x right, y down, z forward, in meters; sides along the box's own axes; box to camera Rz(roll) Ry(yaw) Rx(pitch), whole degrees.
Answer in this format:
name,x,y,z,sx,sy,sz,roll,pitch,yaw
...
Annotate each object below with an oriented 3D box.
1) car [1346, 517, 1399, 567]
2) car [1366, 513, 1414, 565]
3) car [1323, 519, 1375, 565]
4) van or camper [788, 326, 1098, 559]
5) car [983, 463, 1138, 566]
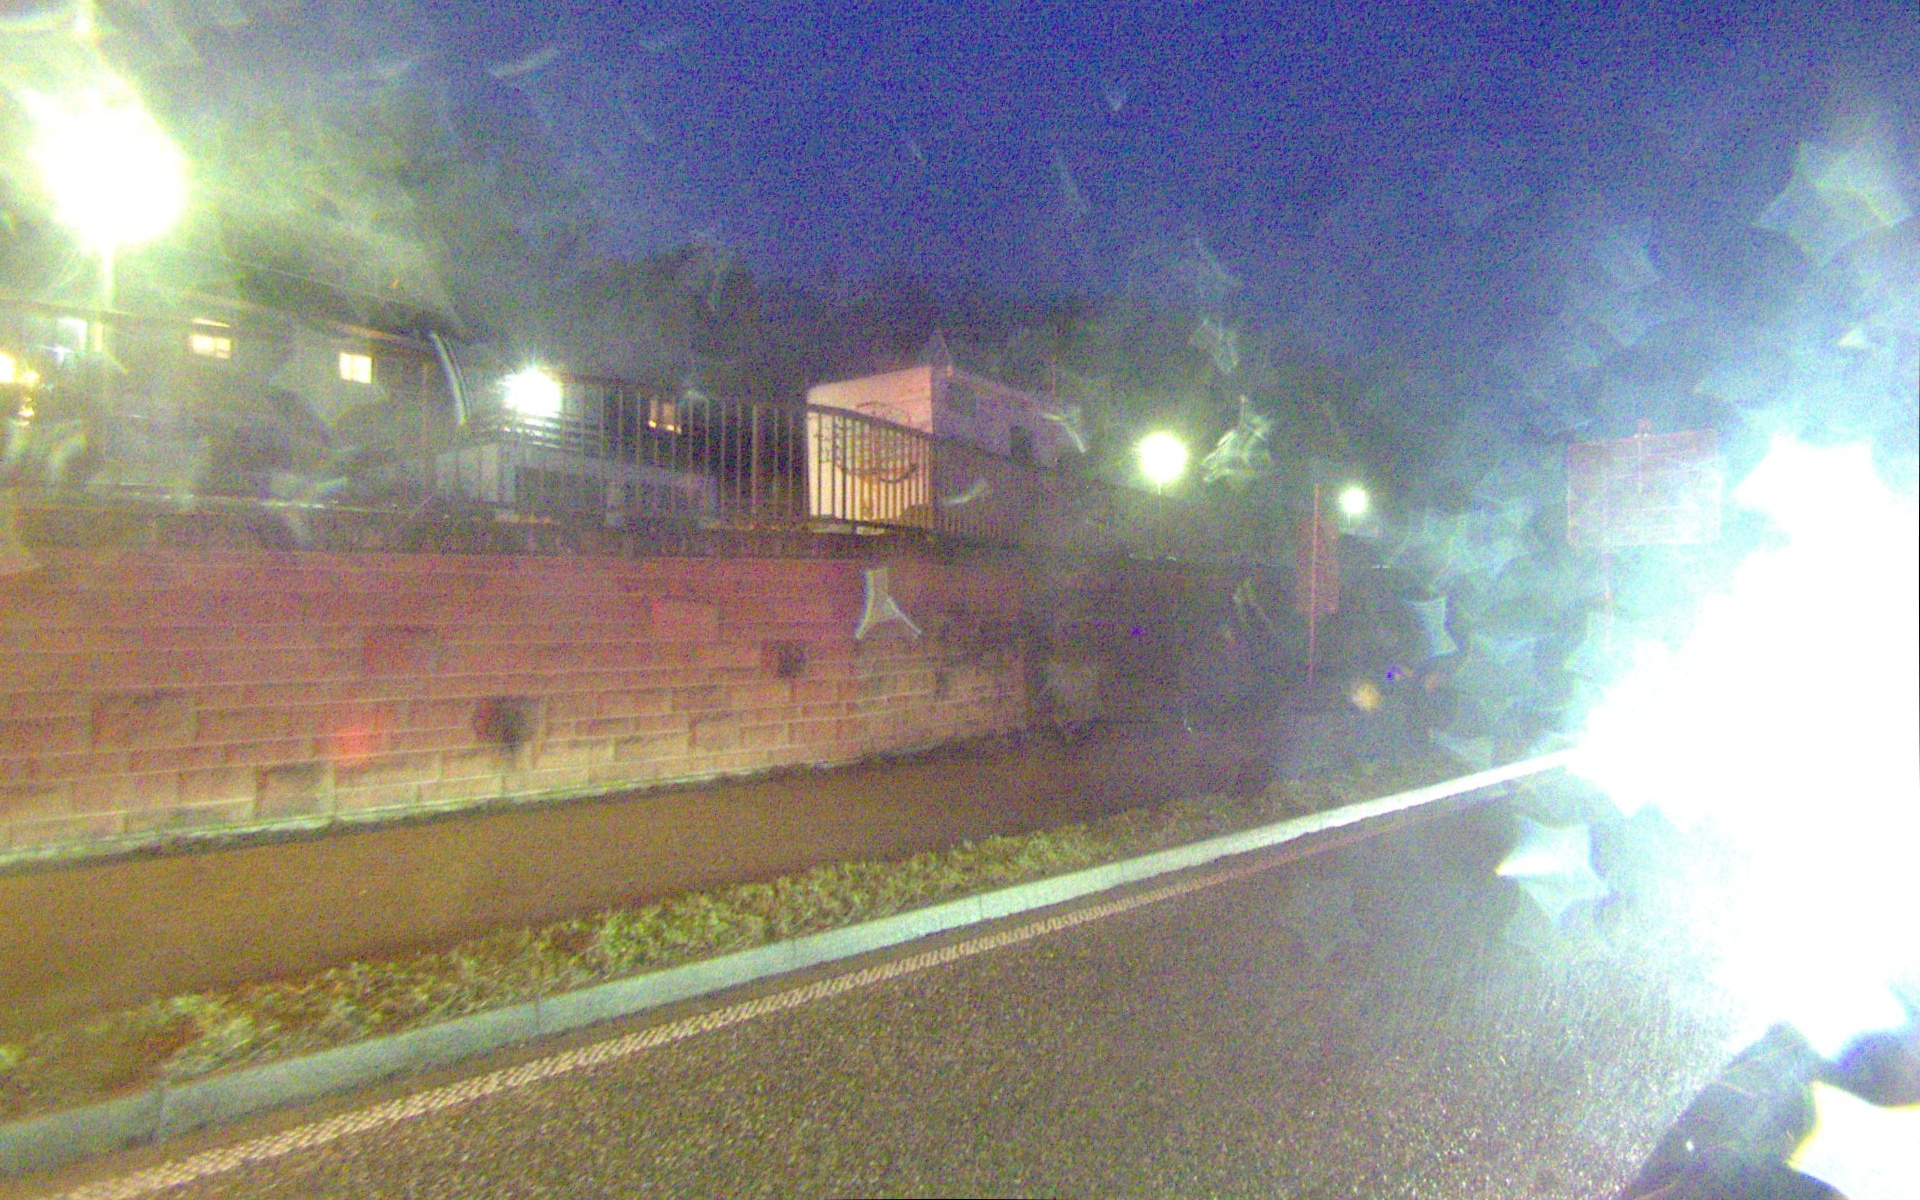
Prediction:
name,x,y,z,sx,sy,sz,roll,pitch,yaw
car,22.134,-3.065,54.196,1.922,2.451,4.206,0,0,32
car,25.000,-3.471,58.722,1.922,2.809,4.206,0,0,32
car,19.174,-2.802,49.803,1.721,2.039,3.658,0,0,32
van or camper,0.014,-2.168,16.203,2.394,2.828,5.712,0,0,30
car,2.385,-1.845,23.207,1.985,2.039,3.954,0,0,32
